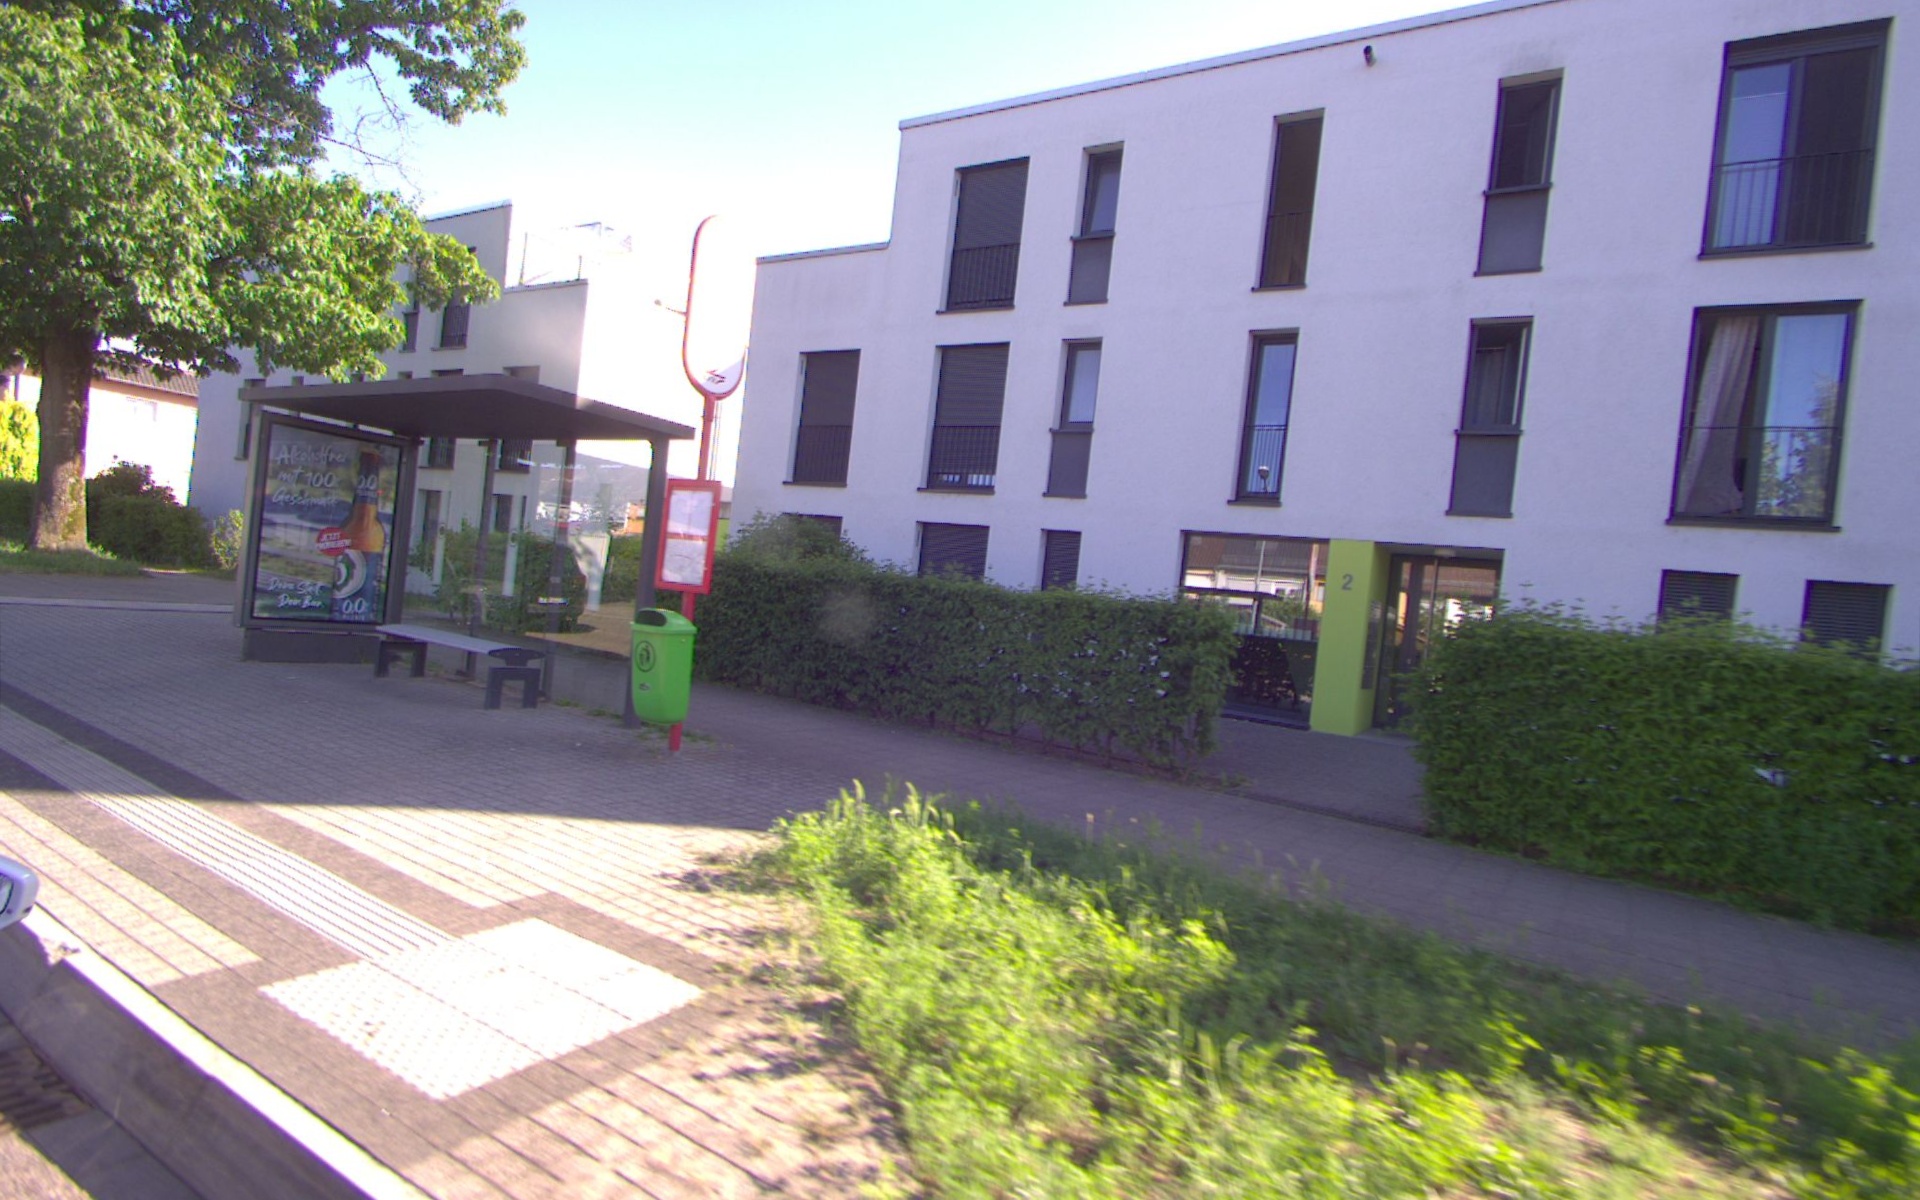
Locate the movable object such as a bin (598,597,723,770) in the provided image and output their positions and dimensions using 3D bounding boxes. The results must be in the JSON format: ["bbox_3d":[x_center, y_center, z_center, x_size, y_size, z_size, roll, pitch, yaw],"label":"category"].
[{"bbox_3d":[-1.964,0.536,6.608,0.589,1.029,0.369,7,1,24],"label":"movable object such as a bin"}]

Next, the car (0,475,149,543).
[{"bbox_3d":[-33.478,-3.371,36.992,2.038,1.870,5.246,5,-1,31],"label":"car"}]
